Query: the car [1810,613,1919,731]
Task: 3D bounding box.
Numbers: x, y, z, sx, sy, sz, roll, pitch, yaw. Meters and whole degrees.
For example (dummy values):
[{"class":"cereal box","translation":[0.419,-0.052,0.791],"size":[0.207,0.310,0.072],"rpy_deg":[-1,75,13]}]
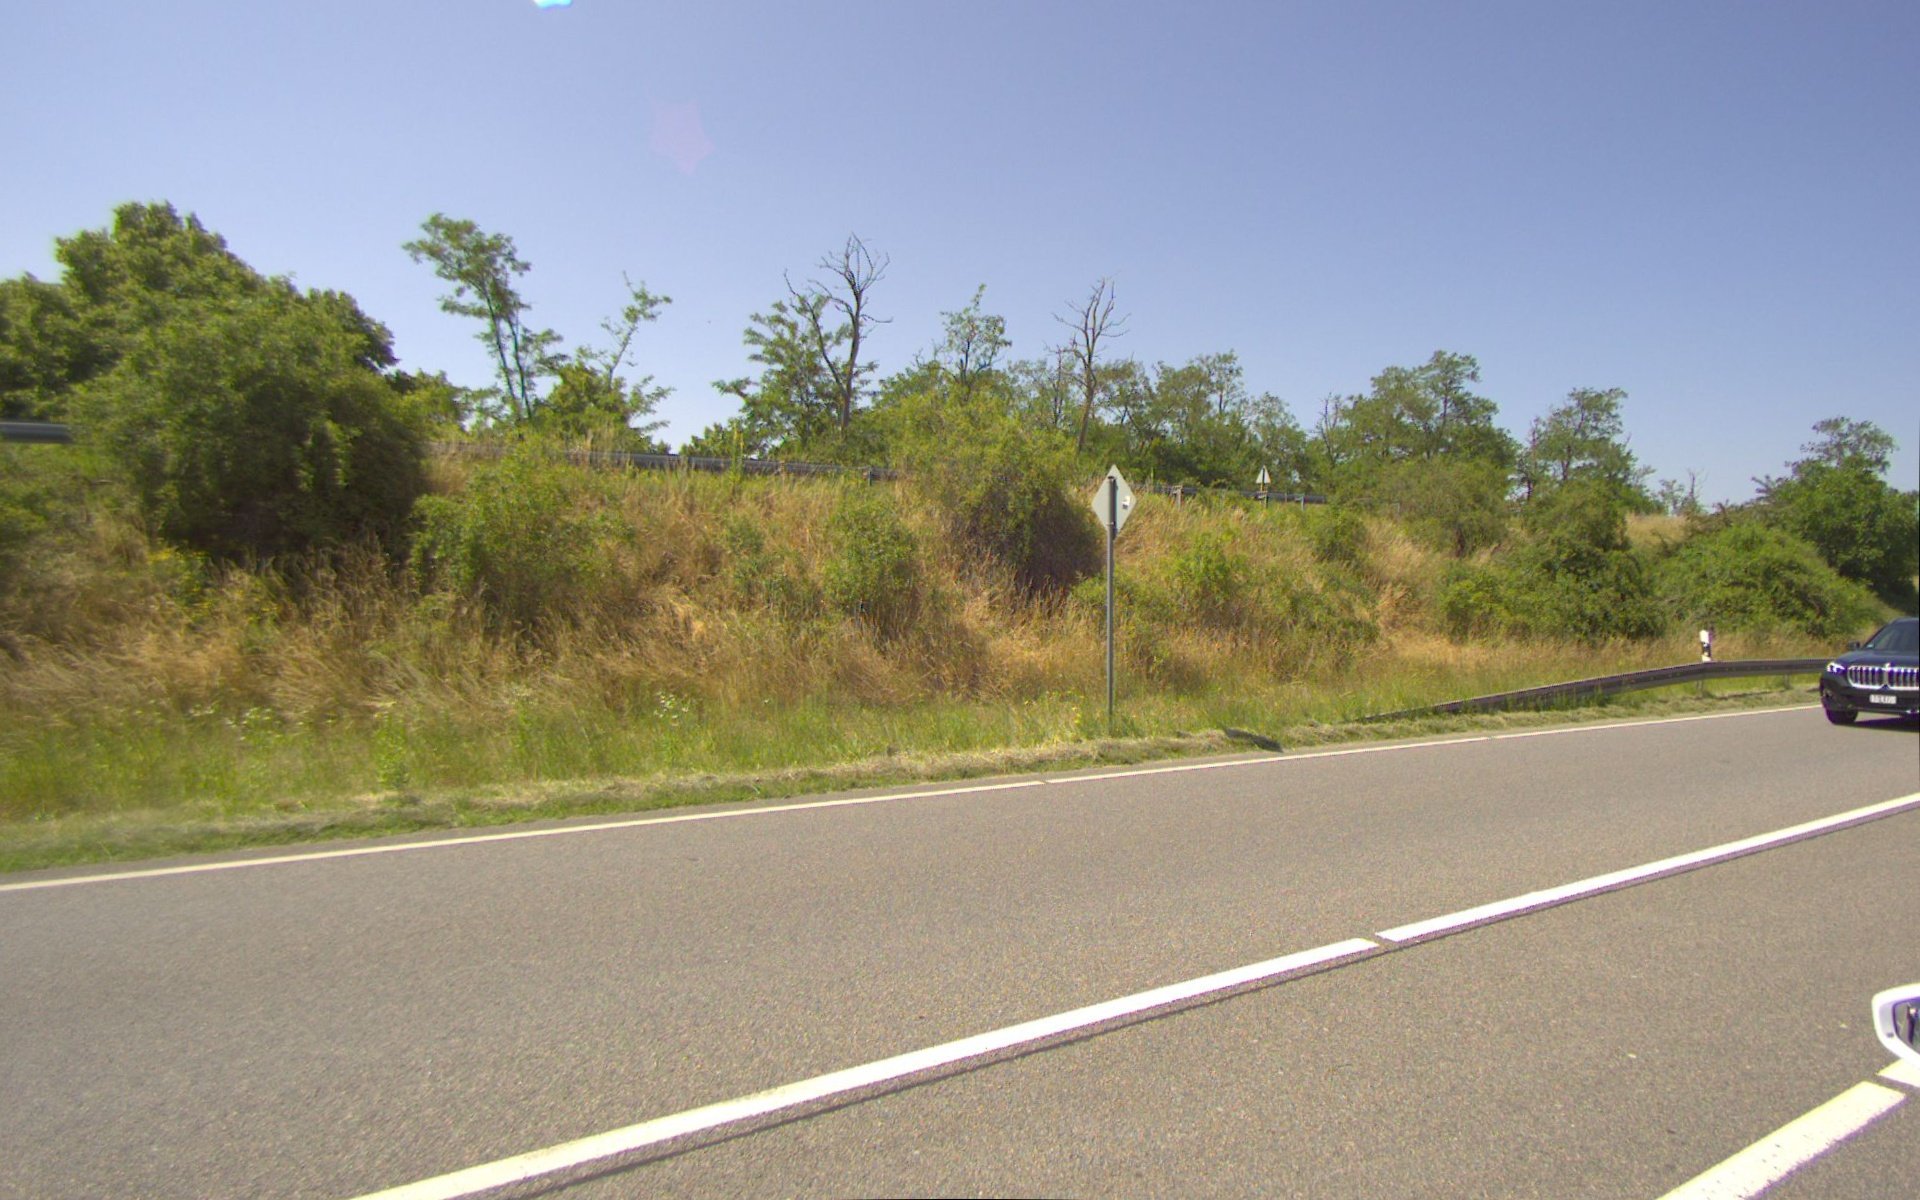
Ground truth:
[{"class":"car","translation":[15.005,1.046,15.305],"size":[4.448,1.619,1.753],"rpy_deg":[1,-1,-30]}]
